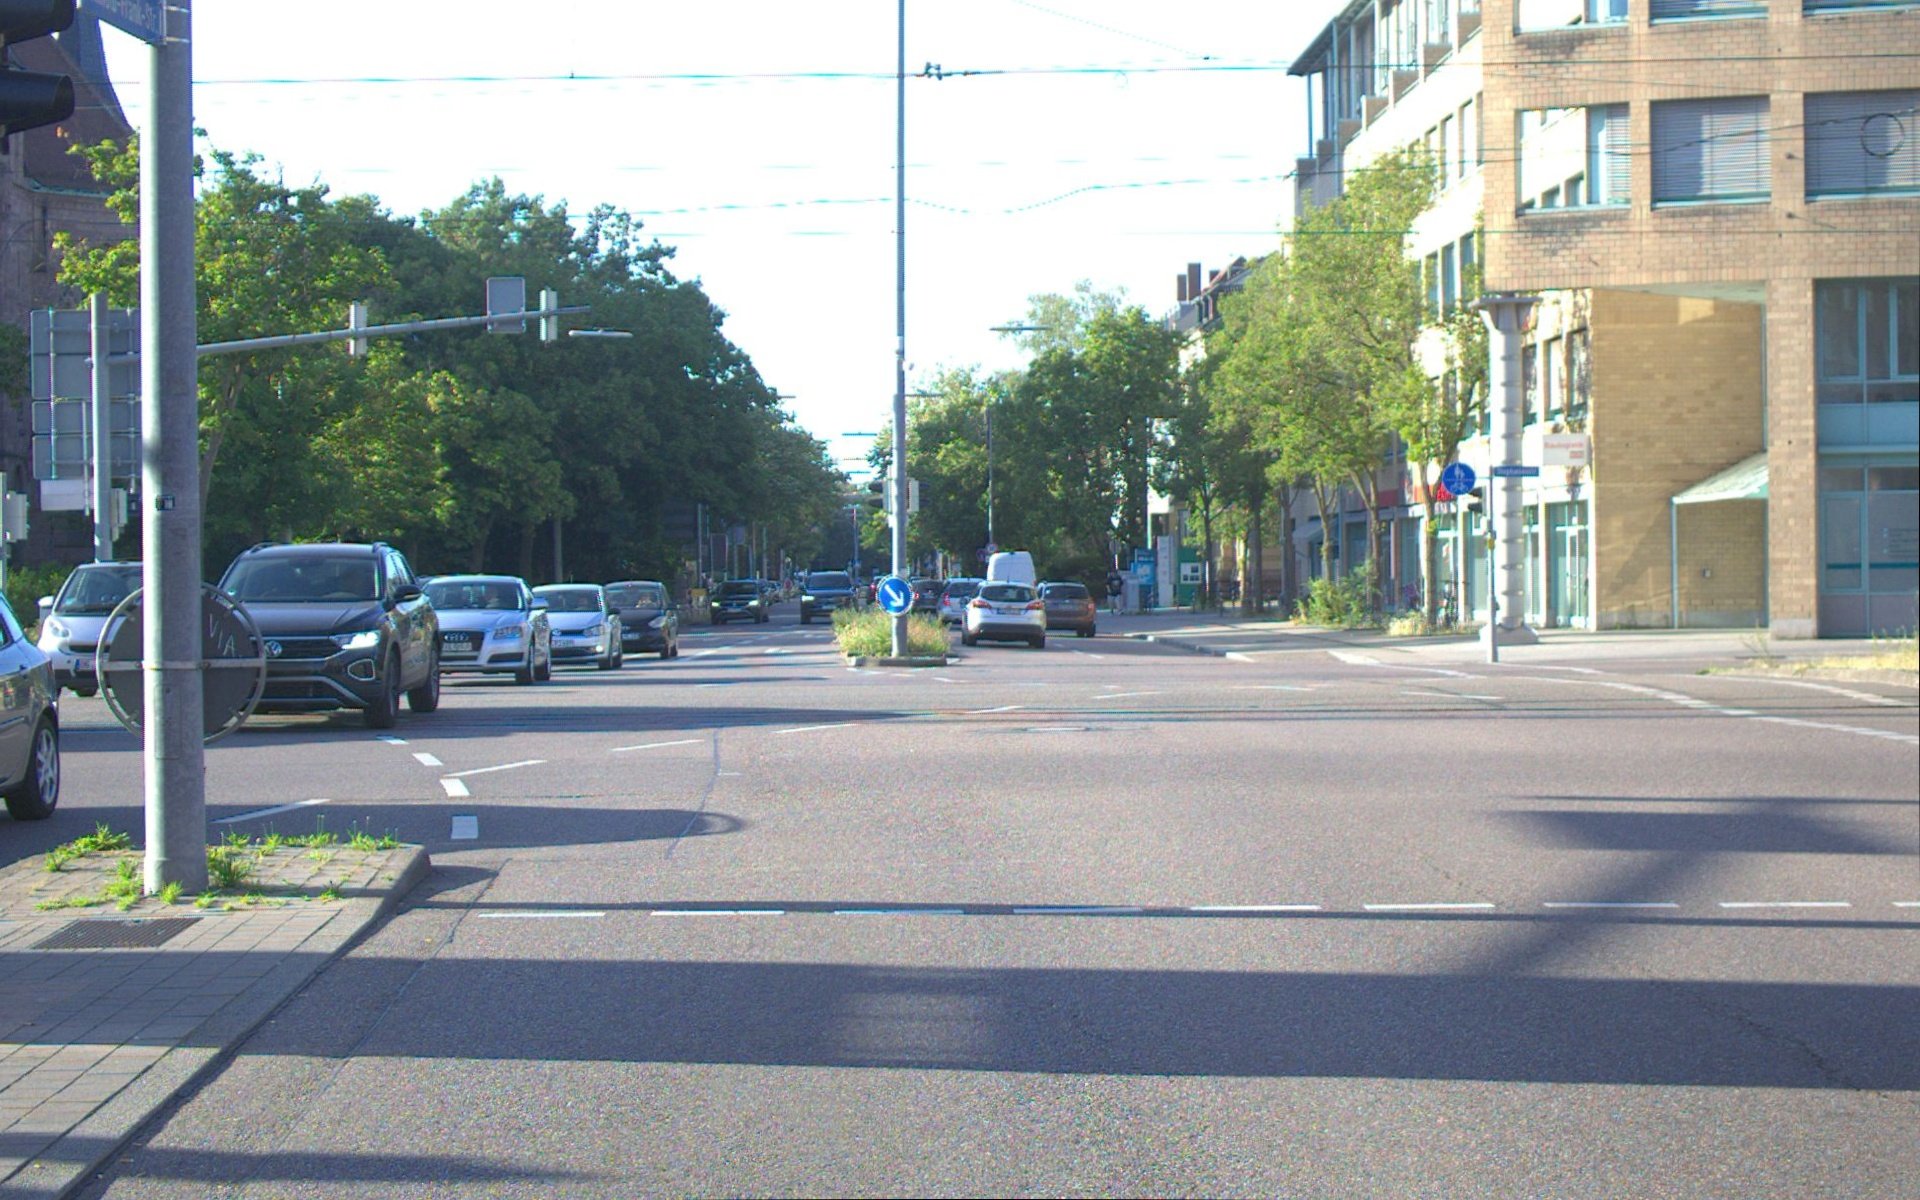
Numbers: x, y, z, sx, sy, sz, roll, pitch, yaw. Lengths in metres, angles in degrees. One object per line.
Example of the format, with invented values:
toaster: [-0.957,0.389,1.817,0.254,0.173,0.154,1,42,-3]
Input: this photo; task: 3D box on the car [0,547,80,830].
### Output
car: [-5.823,0.495,17.642,1.592,1.466,3.986,-1,1,0]

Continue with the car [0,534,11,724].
car: [-9.028,0.305,27.680,1.719,1.623,4.103,-2,1,-2]

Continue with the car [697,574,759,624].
car: [-8.273,-0.017,123.020,1.993,1.718,4.593,-1,0,-2]

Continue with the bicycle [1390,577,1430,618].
bicycle: [11.208,-0.064,85.674,0.646,0.991,2.081,0,0,-2]

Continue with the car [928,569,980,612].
car: [-0.197,-0.298,106.793,1.594,1.263,3.266,0,1,-1]

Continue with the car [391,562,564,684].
car: [-6.281,0.266,45.128,1.708,1.420,4.103,-2,1,-1]

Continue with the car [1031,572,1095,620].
car: [2.784,-0.119,93.257,1.594,1.263,3.266,0,1,-1]

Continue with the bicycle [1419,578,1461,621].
bicycle: [11.314,-0.019,81.124,0.646,0.991,2.081,0,0,-2]

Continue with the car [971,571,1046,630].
car: [1.082,-0.003,77.595,1.594,1.263,3.266,0,1,-1]

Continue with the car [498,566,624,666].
car: [-6.665,0.241,57.741,1.675,1.539,3.806,-2,1,-1]

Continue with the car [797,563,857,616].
car: [-4.531,-0.343,117.854,1.993,1.718,5.031,-1,0,-2]

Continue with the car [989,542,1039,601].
car: [2.260,-1.207,145.452,1.993,2.432,4.000,1,0,-1]

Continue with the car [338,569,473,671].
car: [-9.207,0.305,57.301,1.675,1.539,3.638,-2,1,-1]

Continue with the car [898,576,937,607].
car: [-1.775,-0.359,143.974,1.594,1.263,3.266,0,1,-1]

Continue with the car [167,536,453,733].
car: [-5.607,0.244,30.122,1.675,1.539,4.102,-2,1,0]

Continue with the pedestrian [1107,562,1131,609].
pedestrian: [6.076,-0.555,131.622,0.847,1.797,0.776,0,1,-1]

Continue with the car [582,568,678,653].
car: [-6.524,0.193,68.139,1.578,1.539,3.477,-2,1,-1]

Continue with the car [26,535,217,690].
car: [-9.219,0.103,37.951,1.535,1.587,2.809,-2,1,-4]

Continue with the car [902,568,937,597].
car: [-1.849,-0.803,156.526,1.594,1.263,3.266,0,1,-1]
